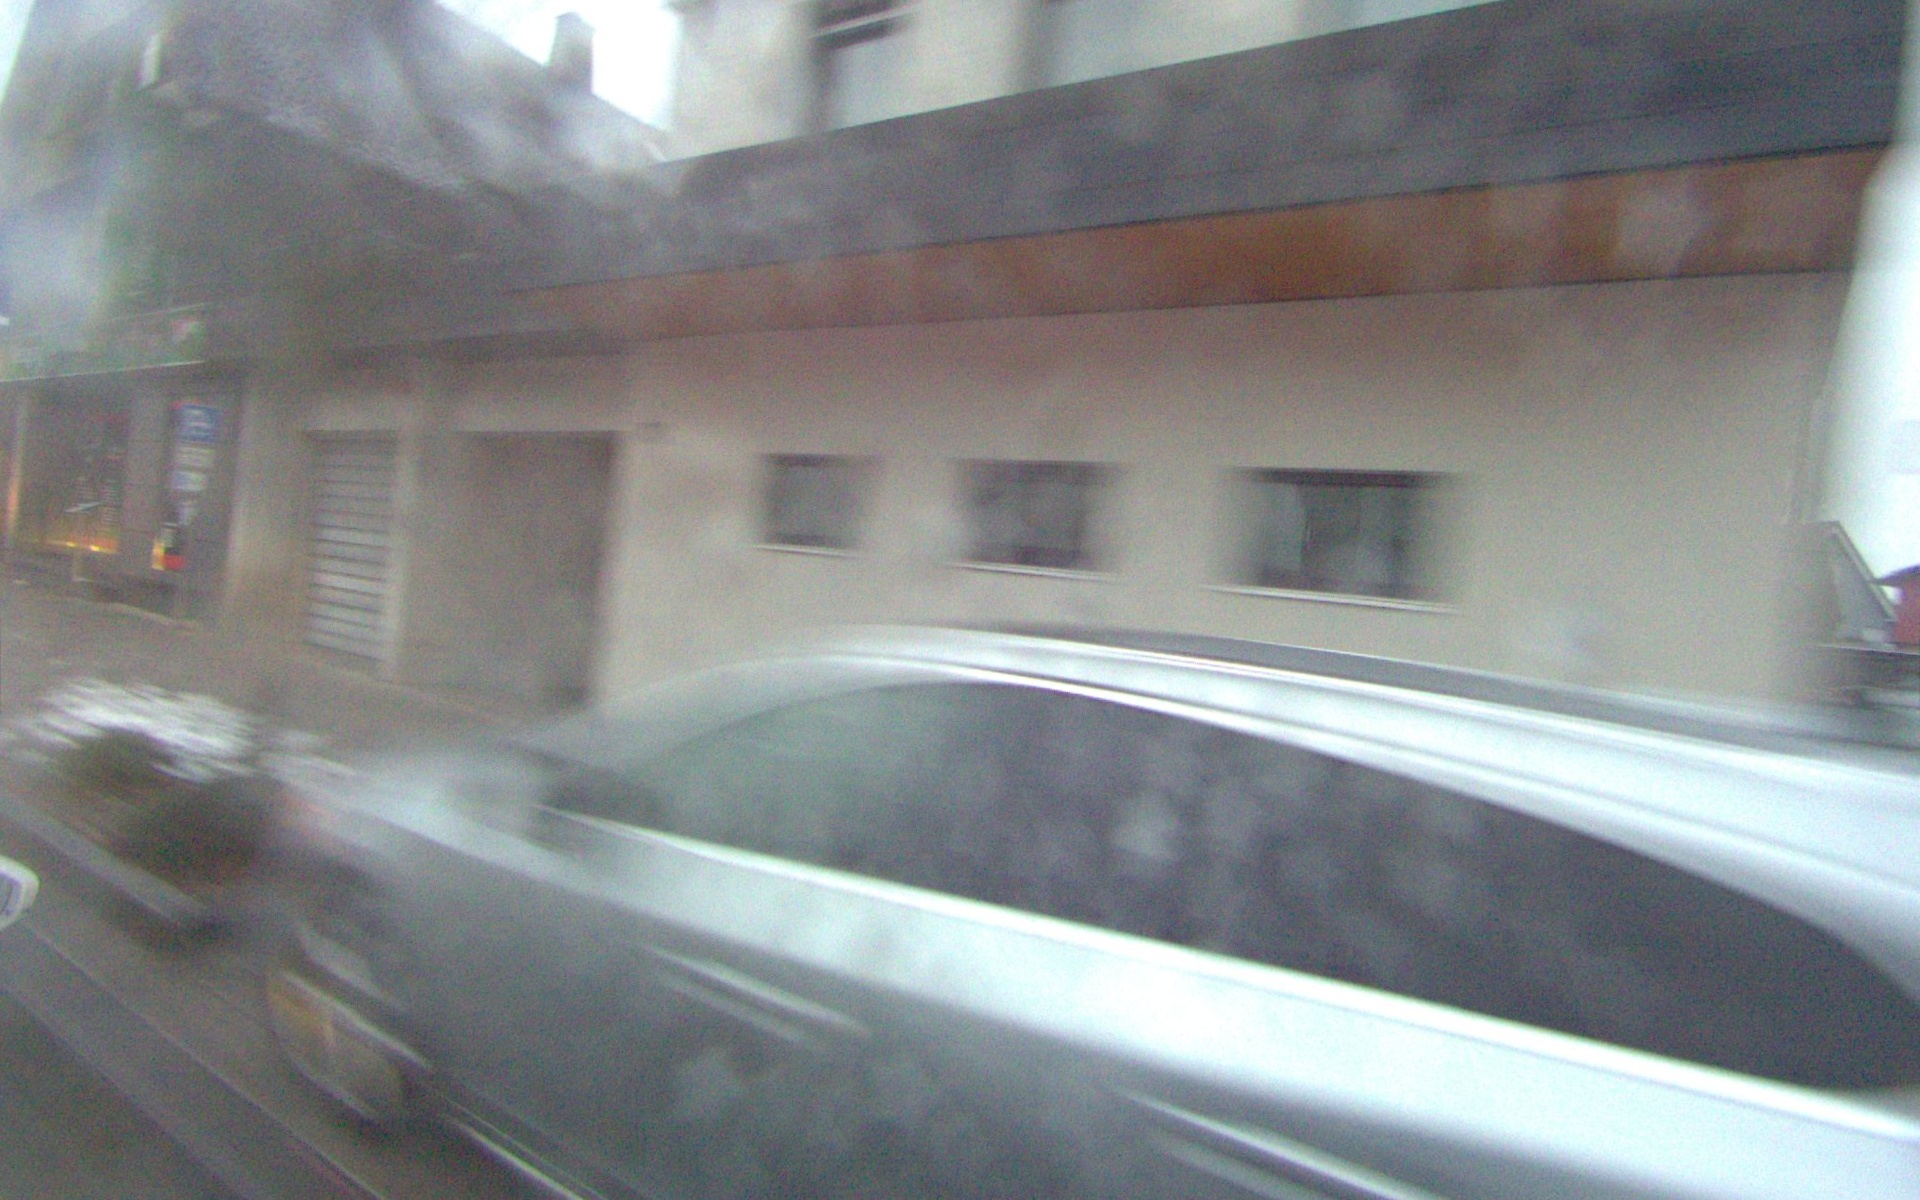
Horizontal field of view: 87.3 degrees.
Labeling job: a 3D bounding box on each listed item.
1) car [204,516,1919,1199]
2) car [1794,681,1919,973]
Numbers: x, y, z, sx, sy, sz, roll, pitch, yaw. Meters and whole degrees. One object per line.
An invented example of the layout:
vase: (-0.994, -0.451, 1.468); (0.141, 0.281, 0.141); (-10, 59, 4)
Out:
car: (0.194, 0.747, 2.327); (4.167, 1.474, 1.652); (7, 3, 31)
car: (7.077, 1.468, 6.848); (1.836, 1.575, 4.144); (7, 0, 38)
